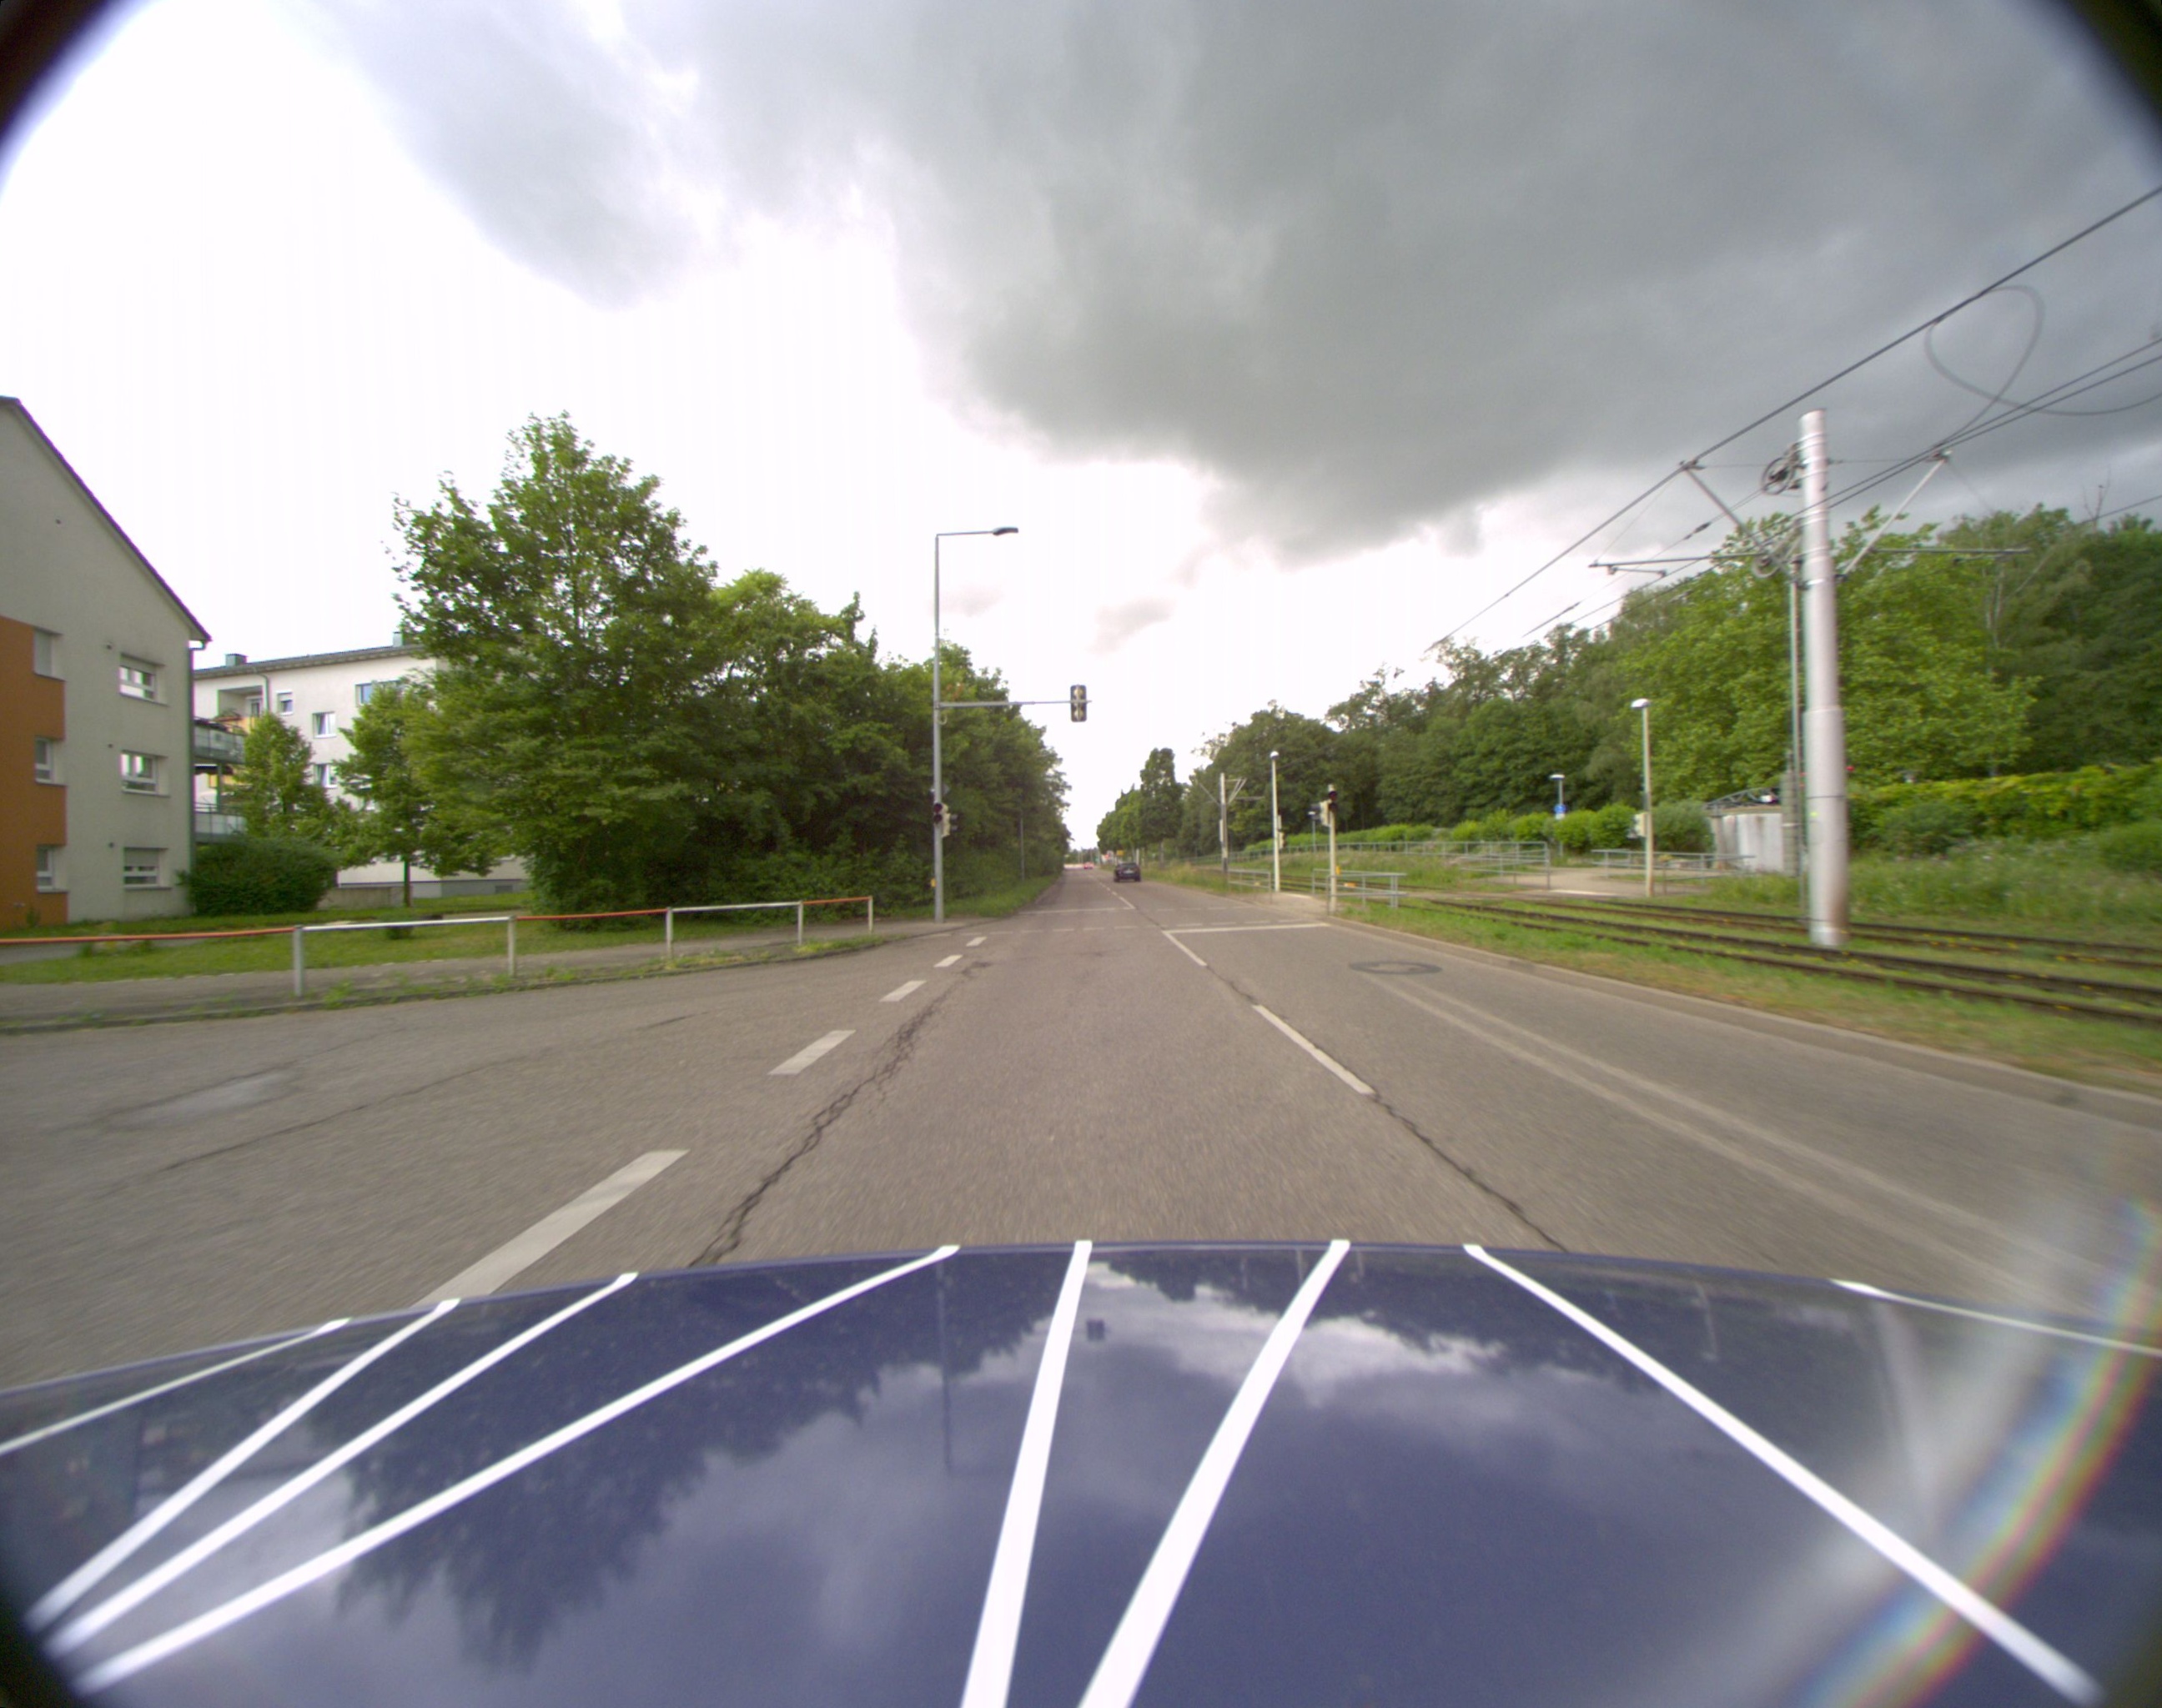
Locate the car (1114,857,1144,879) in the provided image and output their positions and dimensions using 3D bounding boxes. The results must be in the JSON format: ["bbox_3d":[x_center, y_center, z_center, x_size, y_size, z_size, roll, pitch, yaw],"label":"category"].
[{"bbox_3d":[3.470,1.015,55.678,1.855,1.461,4.256,-2,-1,0],"label":"car"}]
